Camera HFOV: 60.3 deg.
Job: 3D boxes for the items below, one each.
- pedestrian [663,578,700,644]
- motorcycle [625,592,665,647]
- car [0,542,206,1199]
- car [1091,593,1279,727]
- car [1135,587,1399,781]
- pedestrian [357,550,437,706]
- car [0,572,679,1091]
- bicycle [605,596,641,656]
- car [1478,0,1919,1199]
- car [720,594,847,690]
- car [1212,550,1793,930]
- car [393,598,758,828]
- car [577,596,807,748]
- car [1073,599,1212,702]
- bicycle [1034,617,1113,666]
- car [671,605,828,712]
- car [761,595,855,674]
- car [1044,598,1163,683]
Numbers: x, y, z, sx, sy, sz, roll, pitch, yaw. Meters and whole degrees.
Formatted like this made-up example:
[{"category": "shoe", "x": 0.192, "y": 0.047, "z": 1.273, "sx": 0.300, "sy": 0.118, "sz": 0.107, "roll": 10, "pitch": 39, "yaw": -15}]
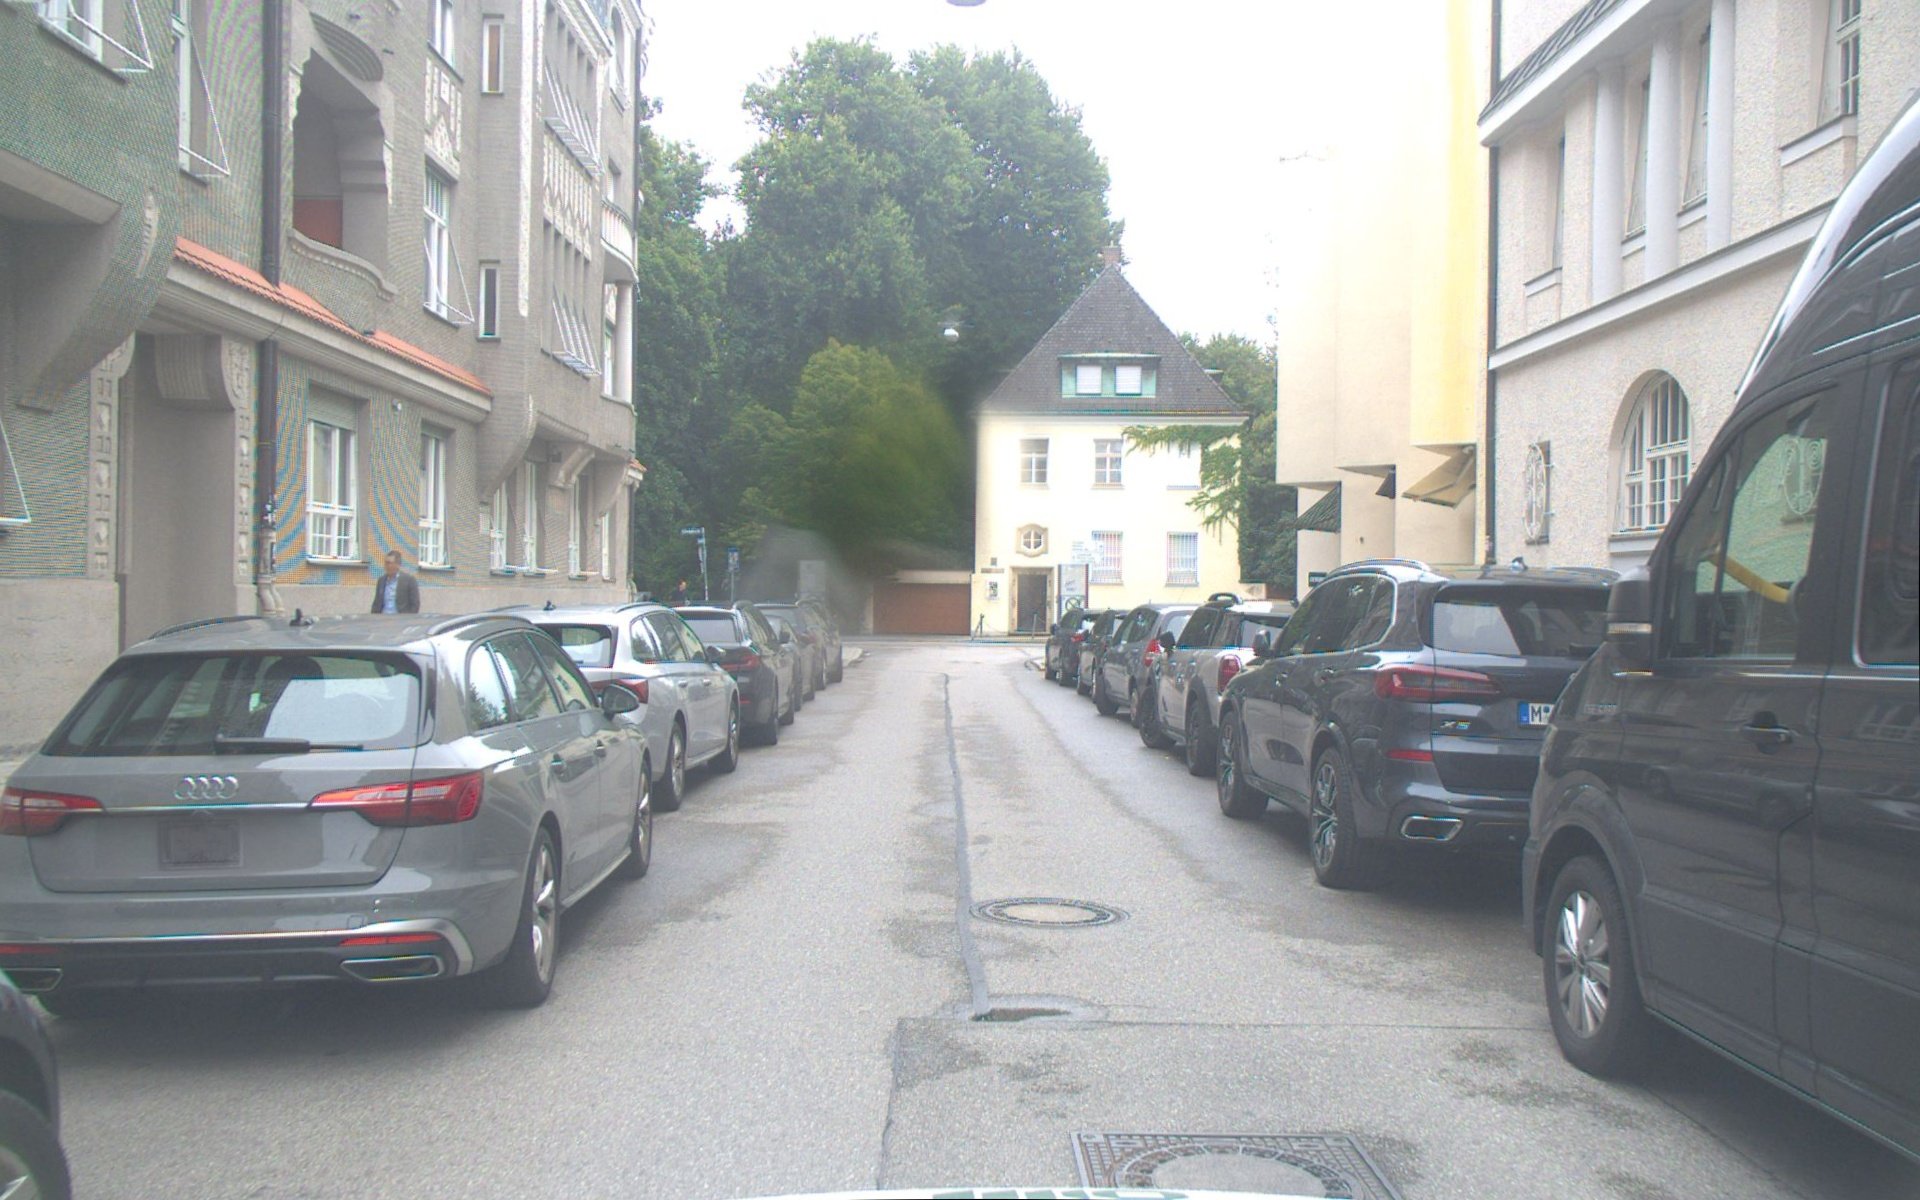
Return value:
[{"category": "pedestrian", "x": -7.755, "y": 0.310, "z": 46.107, "sx": 0.821, "sy": 1.818, "sz": 0.936, "roll": 1, "pitch": 0, "yaw": 2}, {"category": "motorcycle", "x": -8.620, "y": 0.512, "z": 45.304, "sx": 0.721, "sy": 1.466, "sz": 2.146, "roll": 1, "pitch": 0, "yaw": -2}, {"category": "car", "x": -2.438, "y": 0.687, "z": 1.737, "sx": 1.767, "sy": 1.599, "sz": 3.810, "roll": 1, "pitch": 0, "yaw": -5}, {"category": "car", "x": 2.819, "y": 0.711, "z": 21.469, "sx": 1.602, "sy": 1.563, "sz": 3.851, "roll": 1, "pitch": 0, "yaw": -5}, {"category": "car", "x": 2.819, "y": 0.711, "z": 16.015, "sx": 1.601, "sy": 1.620, "sz": 3.966, "roll": 1, "pitch": 0, "yaw": -3}, {"category": "pedestrian", "x": -6.830, "y": 0.335, "z": 20.082, "sx": 0.702, "sy": 1.849, "sz": 0.730, "roll": 1, "pitch": 0, "yaw": -2}, {"category": "car", "x": -2.397, "y": 0.681, "z": 7.243, "sx": 1.800, "sy": 1.540, "sz": 4.605, "roll": 0, "pitch": 0, "yaw": -4}, {"category": "bicycle", "x": -7.900, "y": 0.602, "z": 38.832, "sx": 0.606, "sy": 1.373, "sz": 1.673, "roll": 1, "pitch": 0, "yaw": -5}, {"category": "car", "x": 3.216, "y": 0.028, "z": 3.395, "sx": 2.209, "sy": 3.011, "sz": 6.130, "roll": 2, "pitch": -1, "yaw": -1}, {"category": "car", "x": -3.006, "y": 0.669, "z": 29.040, "sx": 1.719, "sy": 1.541, "sz": 4.707, "roll": 0, "pitch": 0, "yaw": 0}, {"category": "car", "x": 2.900, "y": 0.650, "z": 10.091, "sx": 1.953, "sy": 1.718, "sz": 4.674, "roll": 2, "pitch": 0, "yaw": 0}, {"category": "car", "x": -2.776, "y": 0.734, "z": 12.988, "sx": 1.768, "sy": 1.456, "sz": 4.439, "roll": -1, "pitch": 0, "yaw": 0}, {"category": "car", "x": -2.810, "y": 0.697, "z": 18.398, "sx": 1.953, "sy": 1.474, "sz": 4.776, "roll": 0, "pitch": 0, "yaw": -2}, {"category": "car", "x": 2.829, "y": 0.750, "z": 26.352, "sx": 1.601, "sy": 1.497, "sz": 3.853, "roll": 1, "pitch": 0, "yaw": -3}, {"category": "bicycle", "x": 2.701, "y": 0.978, "z": 39.382, "sx": 1.756, "sy": 1.104, "sz": 0.665, "roll": 0, "pitch": 1, "yaw": 26}, {"category": "car", "x": -2.918, "y": 0.773, "z": 23.680, "sx": 1.719, "sy": 1.354, "sz": 4.096, "roll": 0, "pitch": 0, "yaw": 0}, {"category": "car", "x": -3.093, "y": 0.677, "z": 34.130, "sx": 1.669, "sy": 1.541, "sz": 2.911, "roll": 0, "pitch": 0, "yaw": 0}, {"category": "car", "x": 2.701, "y": 0.727, "z": 32.053, "sx": 1.659, "sy": 1.497, "sz": 4.608, "roll": 1, "pitch": 0, "yaw": -3}]
